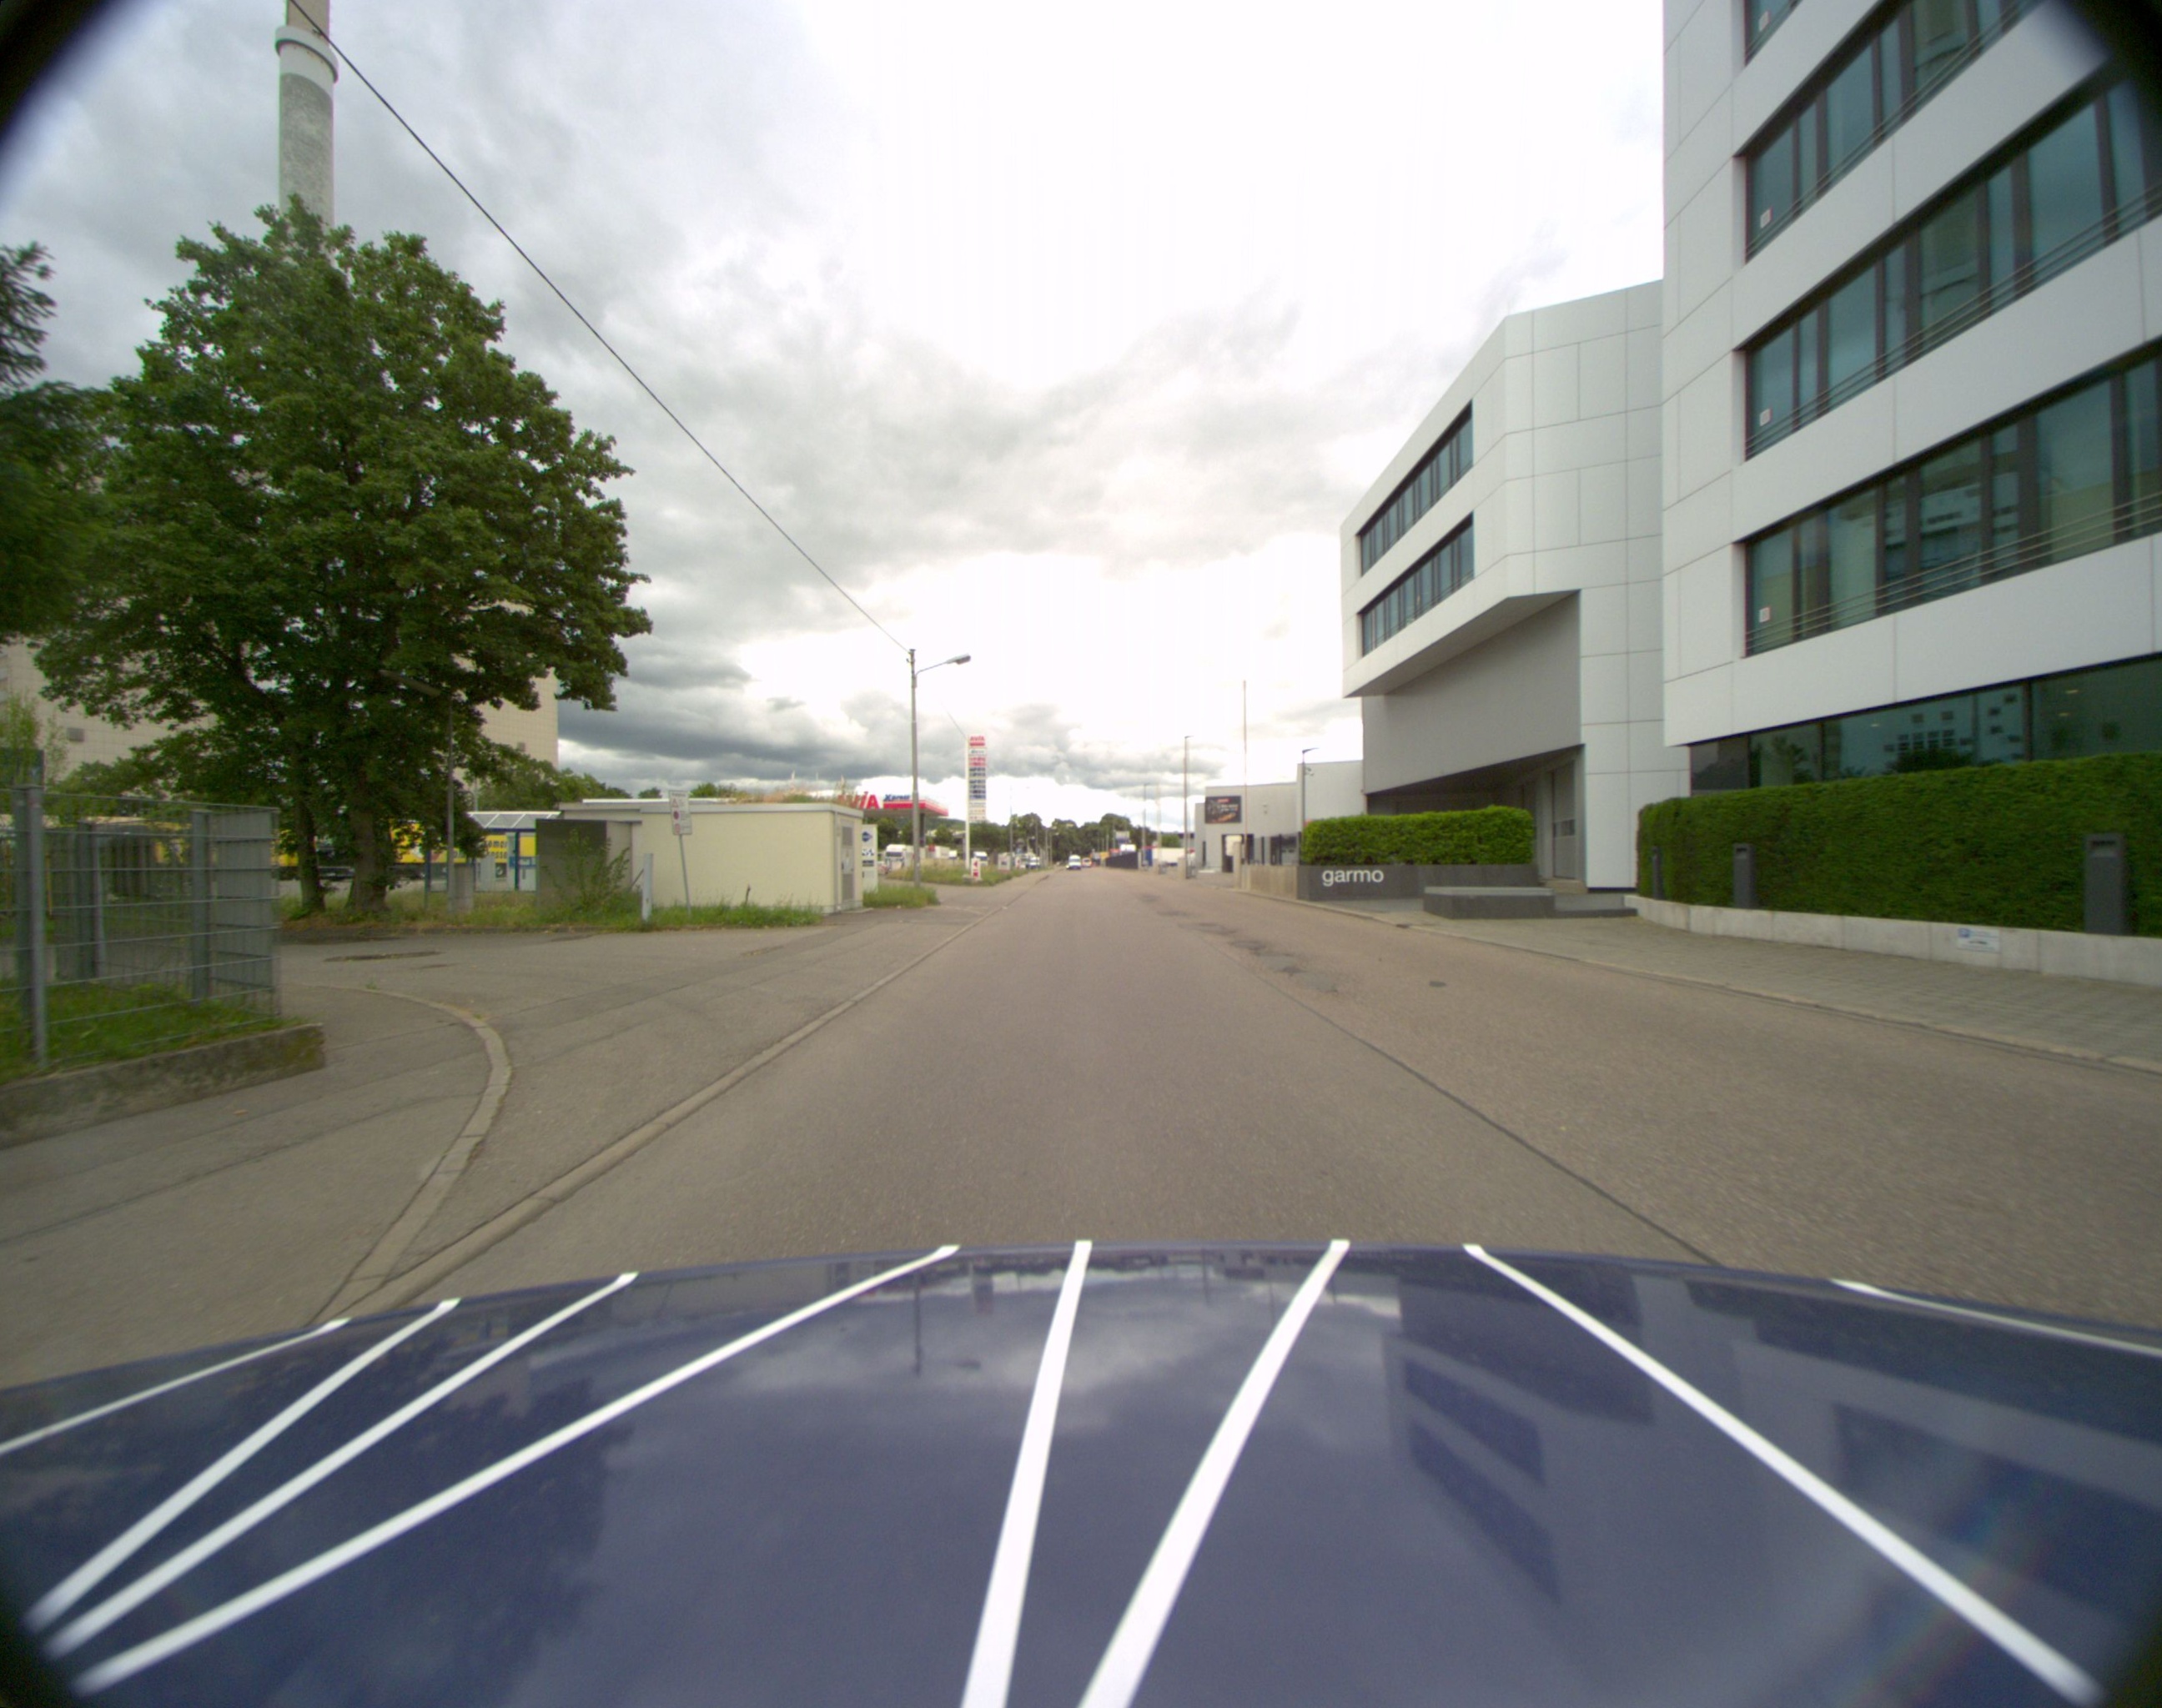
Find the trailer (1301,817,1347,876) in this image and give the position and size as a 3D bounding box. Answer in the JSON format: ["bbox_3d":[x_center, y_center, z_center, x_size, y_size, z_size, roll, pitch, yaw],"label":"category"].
[{"bbox_3d":[18.754,-0.470,58.097,2.745,4.007,12.637,-1,-1,20],"label":"trailer"}]

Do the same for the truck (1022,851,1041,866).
[{"bbox_3d":[-13.068,1.260,198.824,2.832,3.689,9.090,-1,0,-18],"label":"truck"}]

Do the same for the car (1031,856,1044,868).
[{"bbox_3d":[-8.698,1.537,151.276,2.091,2.401,6.084,-1,0,1],"label":"car"}]

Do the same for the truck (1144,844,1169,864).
[{"bbox_3d":[15.887,-0.012,159.384,4.878,4.108,3.048,1,0,0],"label":"truck"}]

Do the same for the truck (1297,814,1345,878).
[{"bbox_3d":[16.631,-0.481,52.395,2.745,4.007,7.103,-1,-1,20],"label":"truck"}]

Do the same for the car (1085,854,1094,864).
[{"bbox_3d":[2.202,1.183,190.199,1.998,2.401,5.258,-2,-1,3],"label":"car"}]

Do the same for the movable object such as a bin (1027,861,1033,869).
[{"bbox_3d":[-6.935,1.481,102.927,0.716,1.075,0.662,-1,0,-7],"label":"movable object such as a bin"}]

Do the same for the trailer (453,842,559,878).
[{"bbox_3d":[-76.525,0.823,100.868,18.243,4.474,3.565,-1,0,27],"label":"trailer"}]

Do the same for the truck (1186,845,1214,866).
[{"bbox_3d":[23.761,0.269,152.174,4.870,4.180,3.053,1,0,22],"label":"truck"}]

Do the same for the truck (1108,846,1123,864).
[{"bbox_3d":[7.460,0.310,164.999,3.021,3.826,5.670,1,0,0],"label":"truck"}]

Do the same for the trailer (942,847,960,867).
[{"bbox_3d":[-27.984,0.697,163.172,2.841,4.070,13.380,0,-1,-14],"label":"trailer"}]

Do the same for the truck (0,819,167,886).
[{"bbox_3d":[-61.702,-0.052,47.174,2.697,3.892,6.040,0,0,-1],"label":"truck"}]

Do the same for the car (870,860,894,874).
[{"bbox_3d":[-23.199,1.460,88.588,1.769,1.561,4.215,1,0,-1],"label":"car"}]

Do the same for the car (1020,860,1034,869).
[{"bbox_3d":[-8.513,1.666,120.138,1.778,1.455,4.560,-1,-1,0],"label":"car"}]

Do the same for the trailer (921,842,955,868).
[{"bbox_3d":[-22.194,0.207,118.594,2.964,3.944,10.407,1,0,2],"label":"trailer"}]

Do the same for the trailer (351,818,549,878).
[{"bbox_3d":[-45.772,-0.344,56.217,3.007,3.892,14.300,0,0,-1],"label":"trailer"}]

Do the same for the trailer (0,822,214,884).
[{"bbox_3d":[-69.843,-0.024,53.283,2.697,3.892,13.688,0,0,-1],"label":"trailer"}]

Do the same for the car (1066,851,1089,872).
[{"bbox_3d":[-0.671,1.325,131.620,3.339,3.586,8.668,0,-1,-4],"label":"car"}]

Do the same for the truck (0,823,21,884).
[{"bbox_3d":[-69.680,-0.051,45.947,2.697,3.892,6.040,0,0,-1],"label":"truck"}]

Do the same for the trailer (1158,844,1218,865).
[{"bbox_3d":[22.245,0.103,158.052,12.021,4.108,3.053,1,0,18],"label":"trailer"}]

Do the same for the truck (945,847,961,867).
[{"bbox_3d":[-26.505,0.606,157.223,2.876,4.070,6.749,0,-1,-14],"label":"truck"}]

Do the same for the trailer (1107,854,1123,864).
[{"bbox_3d":[7.474,1.165,170.789,3.046,2.179,12.048,1,0,0],"label":"trailer"}]

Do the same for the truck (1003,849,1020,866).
[{"bbox_3d":[-16.217,0.882,177.481,2.876,3.989,6.748,0,-1,-15],"label":"truck"}]

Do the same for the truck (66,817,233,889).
[{"bbox_3d":[-57.824,-0.054,47.452,3.052,4.237,6.040,0,0,-1],"label":"truck"}]

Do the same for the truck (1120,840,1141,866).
[{"bbox_3d":[8.452,-0.129,129.169,3.367,4.135,5.629,1,0,3],"label":"truck"}]

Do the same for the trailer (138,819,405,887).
[{"bbox_3d":[-57.985,-0.029,55.712,3.028,4.235,15.723,0,0,-1],"label":"trailer"}]

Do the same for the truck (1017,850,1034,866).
[{"bbox_3d":[-13.286,0.978,181.697,2.876,3.608,6.748,0,-1,-15],"label":"truck"}]

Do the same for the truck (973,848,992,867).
[{"bbox_3d":[-21.794,0.832,168.194,2.877,4.070,6.745,0,-1,-20],"label":"truck"}]

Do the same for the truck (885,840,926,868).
[{"bbox_3d":[-26.220,0.023,114.295,3.082,3.944,13.069,1,0,0],"label":"truck"}]

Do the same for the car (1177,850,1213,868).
[{"bbox_3d":[18.795,0.834,125.545,5.423,2.714,2.245,-2,-1,19],"label":"car"}]

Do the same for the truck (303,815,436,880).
[{"bbox_3d":[-45.600,-0.383,48.996,2.964,3.892,6.040,0,0,-1],"label":"truck"}]

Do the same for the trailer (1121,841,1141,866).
[{"bbox_3d":[8.869,-0.085,136.157,3.367,4.135,13.853,1,0,3],"label":"trailer"}]
